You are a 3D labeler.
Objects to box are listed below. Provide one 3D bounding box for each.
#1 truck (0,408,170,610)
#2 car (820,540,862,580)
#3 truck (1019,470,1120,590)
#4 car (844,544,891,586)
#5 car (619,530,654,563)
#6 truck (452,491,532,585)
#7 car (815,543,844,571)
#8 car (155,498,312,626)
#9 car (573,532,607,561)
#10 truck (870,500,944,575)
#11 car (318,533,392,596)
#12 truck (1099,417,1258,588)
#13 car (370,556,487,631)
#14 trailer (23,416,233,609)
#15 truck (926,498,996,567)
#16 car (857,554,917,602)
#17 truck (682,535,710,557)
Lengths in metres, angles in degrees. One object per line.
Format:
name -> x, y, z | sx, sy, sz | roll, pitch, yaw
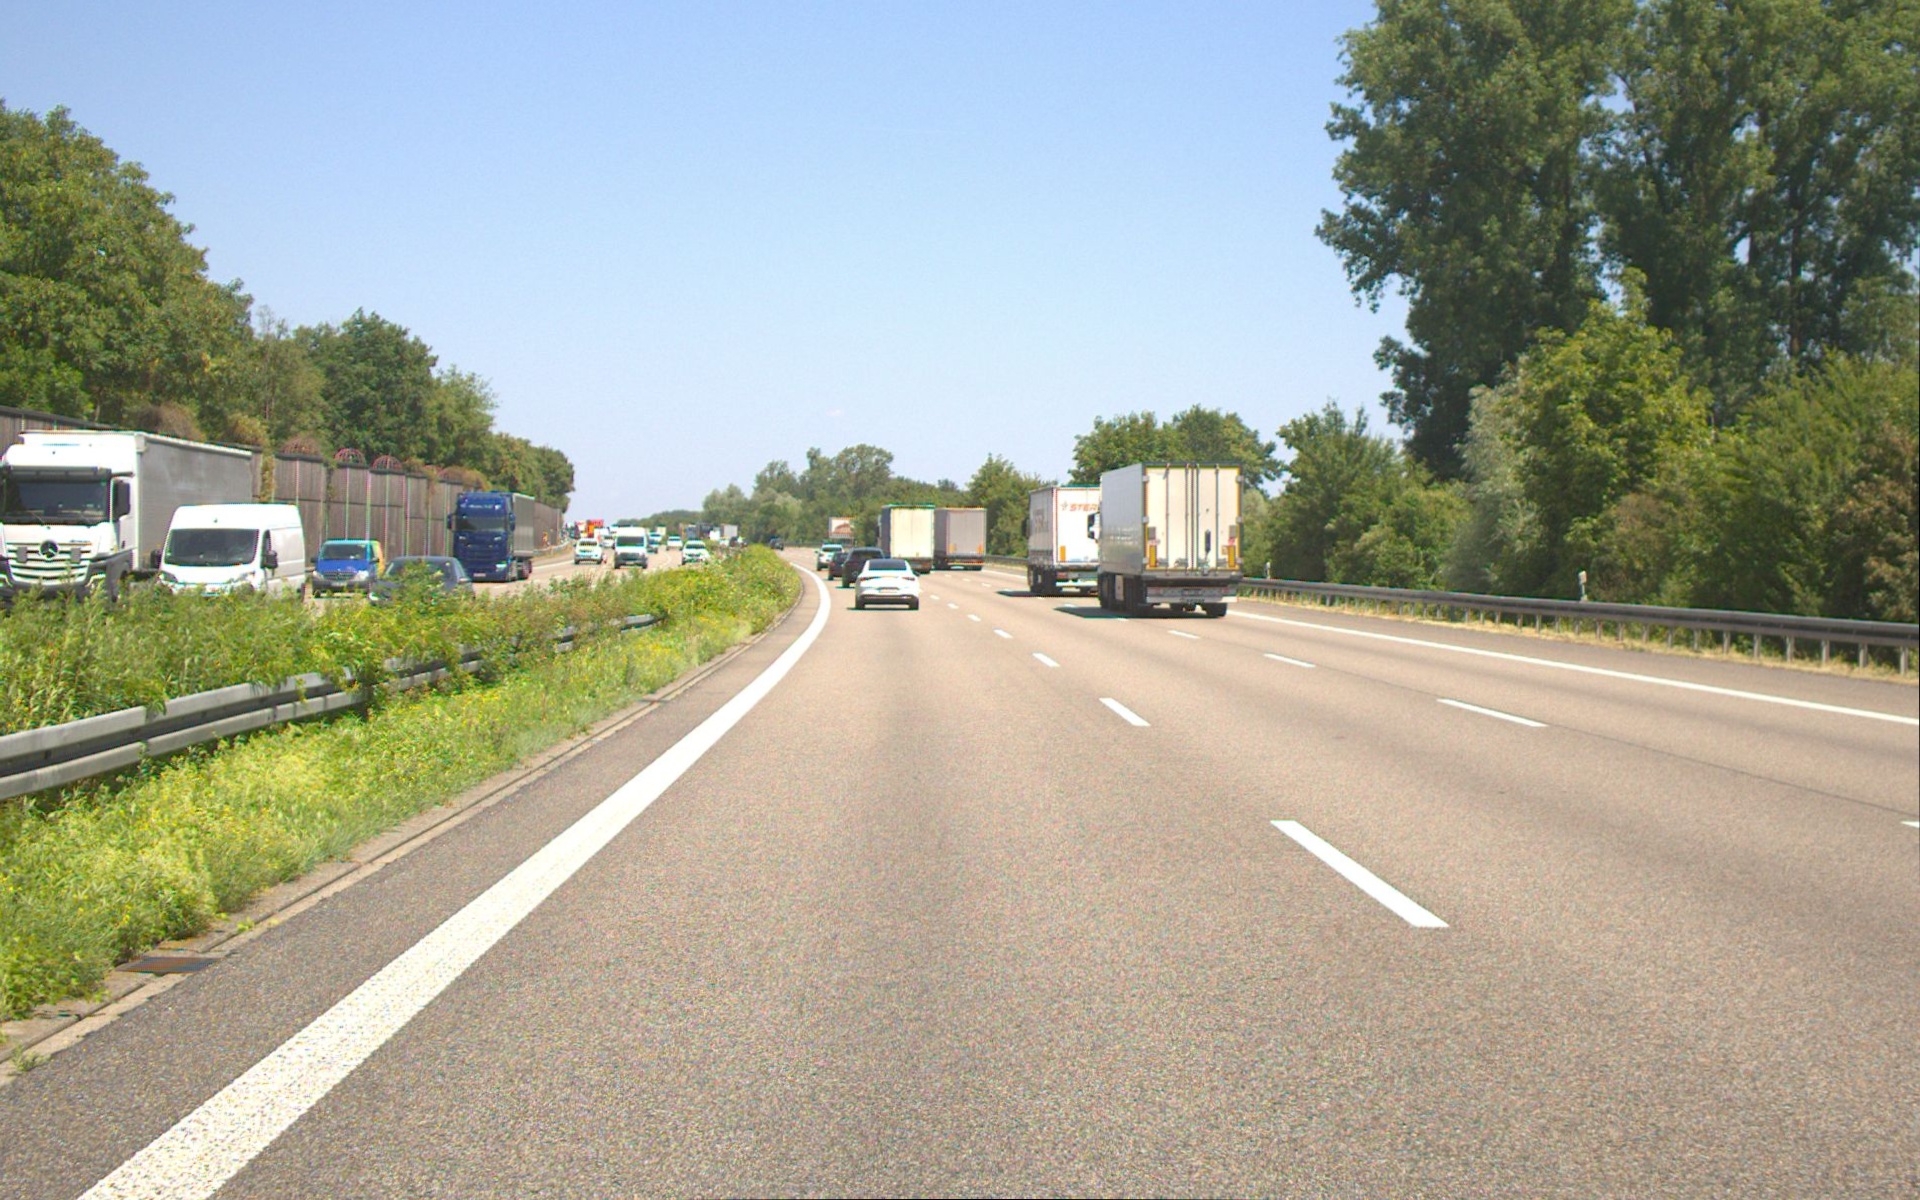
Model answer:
truck -> -18.500, -1.878, 72.693 | 2.501, 4.041, 6.363 | 1, 1, -4
car -> -6.057, -2.038, 175.134 | 1.993, 2.007, 4.000 | 1, 1, -1
truck -> 4.056, -2.552, 129.505 | 3.359, 4.296, 10.828 | 1, 0, 0
car -> -4.001, -1.510, 148.776 | 1.993, 1.766, 4.000 | 1, 1, -1
car -> -20.132, -3.317, 214.180 | 1.993, 2.007, 4.001 | 1, 1, -4
truck -> -21.199, -2.781, 156.115 | 2.610, 4.114, 10.281 | 1, 1, -2
car -> -8.300, -2.737, 218.826 | 1.723, 1.777, 4.000 | 1, 1, -1
car -> -14.378, -0.762, 68.371 | 2.080, 2.393, 6.043 | 1, 1, -3
car -> -26.425, -3.810, 245.543 | 1.993, 2.007, 4.000 | 1, 0, 0
truck -> -3.261, -3.715, 207.468 | 3.579, 4.296, 12.192 | 1, 0, -5
car -> -19.766, -1.154, 112.438 | 1.801, 2.007, 4.000 | 1, 1, -2
truck -> 5.779, -2.503, 92.778 | 3.492, 4.296, 10.988 | 1, 0, 0
car -> -10.475, -0.147, 67.939 | 1.760, 1.423, 3.935 | 1, 1, -1
trailer -> -18.985, -1.932, 79.314 | 2.504, 4.020, 13.423 | 1, 1, -4
truck -> -0.012, -4.413, 227.065 | 3.829, 4.296, 11.555 | 1, 0, -4
car -> -2.115, -0.656, 100.007 | 1.715, 1.365, 3.375 | 1, 1, -1
truck -> -18.487, -3.759, 240.363 | 1.818, 1.518, 3.629 | 1, 0, -6
